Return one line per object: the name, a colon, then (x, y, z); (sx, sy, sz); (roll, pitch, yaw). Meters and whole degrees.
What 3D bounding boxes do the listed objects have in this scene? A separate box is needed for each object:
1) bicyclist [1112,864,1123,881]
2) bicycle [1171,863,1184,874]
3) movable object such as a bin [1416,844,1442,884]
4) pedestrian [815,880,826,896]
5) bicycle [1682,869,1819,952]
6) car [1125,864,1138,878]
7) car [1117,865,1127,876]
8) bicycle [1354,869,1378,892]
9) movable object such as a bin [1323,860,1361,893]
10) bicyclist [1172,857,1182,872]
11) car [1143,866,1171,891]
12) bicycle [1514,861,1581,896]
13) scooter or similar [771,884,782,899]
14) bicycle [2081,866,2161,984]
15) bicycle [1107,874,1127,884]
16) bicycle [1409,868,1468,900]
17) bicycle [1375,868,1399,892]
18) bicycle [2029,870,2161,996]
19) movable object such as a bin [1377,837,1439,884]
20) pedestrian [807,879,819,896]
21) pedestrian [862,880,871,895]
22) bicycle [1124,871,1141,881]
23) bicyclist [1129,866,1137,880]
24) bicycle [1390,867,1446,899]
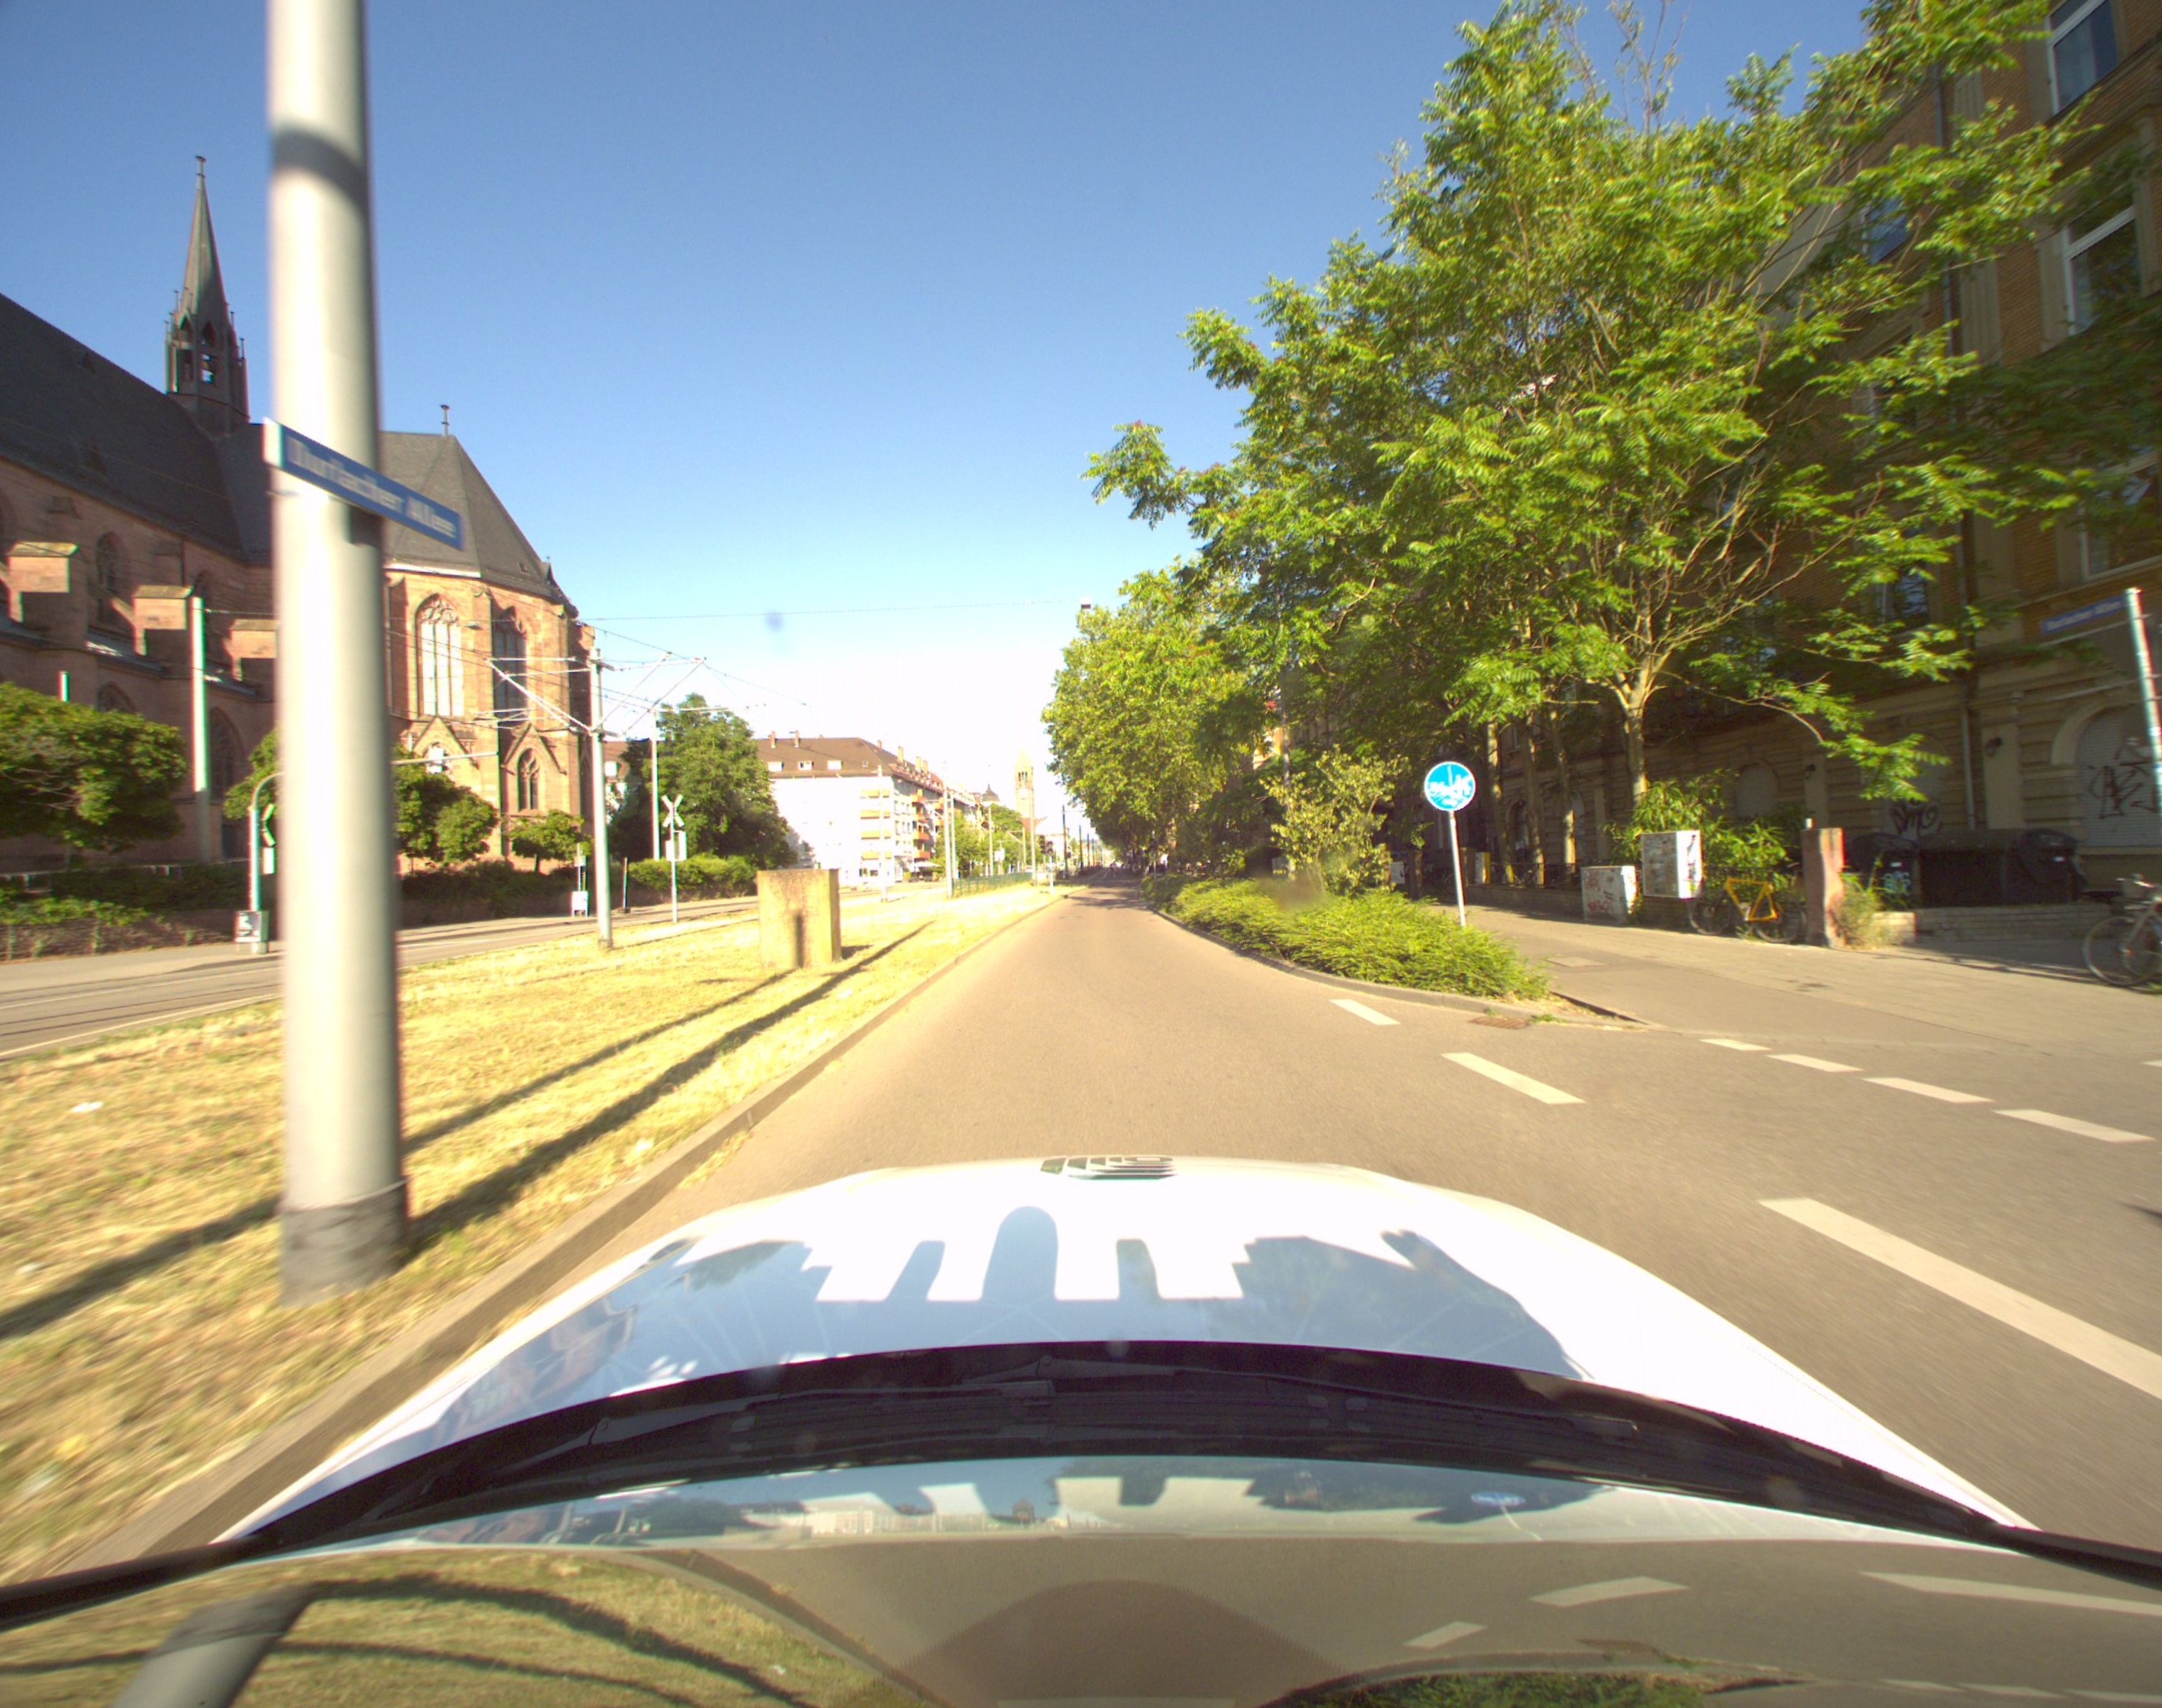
bicyclist: (4.267, 2.125, 94.811); (1.137, 1.890, 0.683); (-4, 1, 2)
bicycle: (9.754, 1.462, 82.231); (0.812, 0.957, 2.312); (-4, 2, -6)
movable object such as a bin: (15.304, 0.443, 35.844); (0.752, 1.692, 0.743); (-4, 1, 0)
pedestrian: (-25.098, 3.239, 78.431); (0.586, 1.467, 0.917); (-4, 1, 3)
bicycle: (9.458, 0.759, 11.592); (0.523, 0.988, 1.722); (-4, 2, 1)
car: (8.219, 2.808, 131.992); (1.985, 2.108, 4.002); (-1, -2, 3)
car: (8.346, 3.309, 164.563); (1.985, 2.108, 4.002); (-1, -2, 3)
bicycle: (11.070, 1.026, 31.605); (0.766, 0.854, 0.375); (-4, 1, -1)
movable object such as a bin: (11.494, 0.981, 35.939); (1.227, 1.382, 1.257); (-4, -1, 1)
bicyclist: (9.709, 1.071, 82.228); (0.812, 1.405, 0.823); (-4, 1, -7)
car: (5.086, 1.616, 54.981); (1.637, 1.511, 4.186); (-4, -1, 3)
bicycle: (14.272, 0.749, 24.912); (1.722, 0.924, 0.443); (-4, 1, 5)
scooter or similar: (-27.738, 3.410, 74.192); (0.400, 1.261, 1.232); (-4, 1, 3)
bicycle: (10.375, 0.693, 7.333); (0.516, 1.047, 1.822); (-4, 2, 2)
bicycle: (4.223, 2.879, 94.817); (2.233, 0.976, 0.682); (-3, 1, 1)
bicycle: (11.551, 0.966, 26.348); (1.645, 0.924, 0.539); (-4, 1, 3)
bicycle: (11.871, 1.001, 31.596); (0.766, 0.854, 0.375); (-4, 1, -1)
bicycle: (9.866, 0.726, 7.346); (0.516, 1.047, 1.822); (-4, 2, 2)
movable object such as a bin: (15.200, 0.318, 38.023); (1.540, 1.996, 3.232); (-4, -1, 2)
pedestrian: (-25.820, 3.227, 78.474); (0.641, 1.598, 0.899); (-4, 1, 3)
pedestrian: (-22.357, 3.532, 84.957); (0.685, 1.467, 0.592); (-4, 1, 6)
bicycle: (6.061, 2.556, 96.049); (1.812, 1.047, 0.572); (-4, 1, -6)
bicyclist: (6.158, 2.199, 96.051); (0.748, 1.558, 0.572); (-4, 1, -6)
bicycle: (11.364, 0.981, 27.481); (1.645, 0.924, 0.539); (-4, 1, 3)
